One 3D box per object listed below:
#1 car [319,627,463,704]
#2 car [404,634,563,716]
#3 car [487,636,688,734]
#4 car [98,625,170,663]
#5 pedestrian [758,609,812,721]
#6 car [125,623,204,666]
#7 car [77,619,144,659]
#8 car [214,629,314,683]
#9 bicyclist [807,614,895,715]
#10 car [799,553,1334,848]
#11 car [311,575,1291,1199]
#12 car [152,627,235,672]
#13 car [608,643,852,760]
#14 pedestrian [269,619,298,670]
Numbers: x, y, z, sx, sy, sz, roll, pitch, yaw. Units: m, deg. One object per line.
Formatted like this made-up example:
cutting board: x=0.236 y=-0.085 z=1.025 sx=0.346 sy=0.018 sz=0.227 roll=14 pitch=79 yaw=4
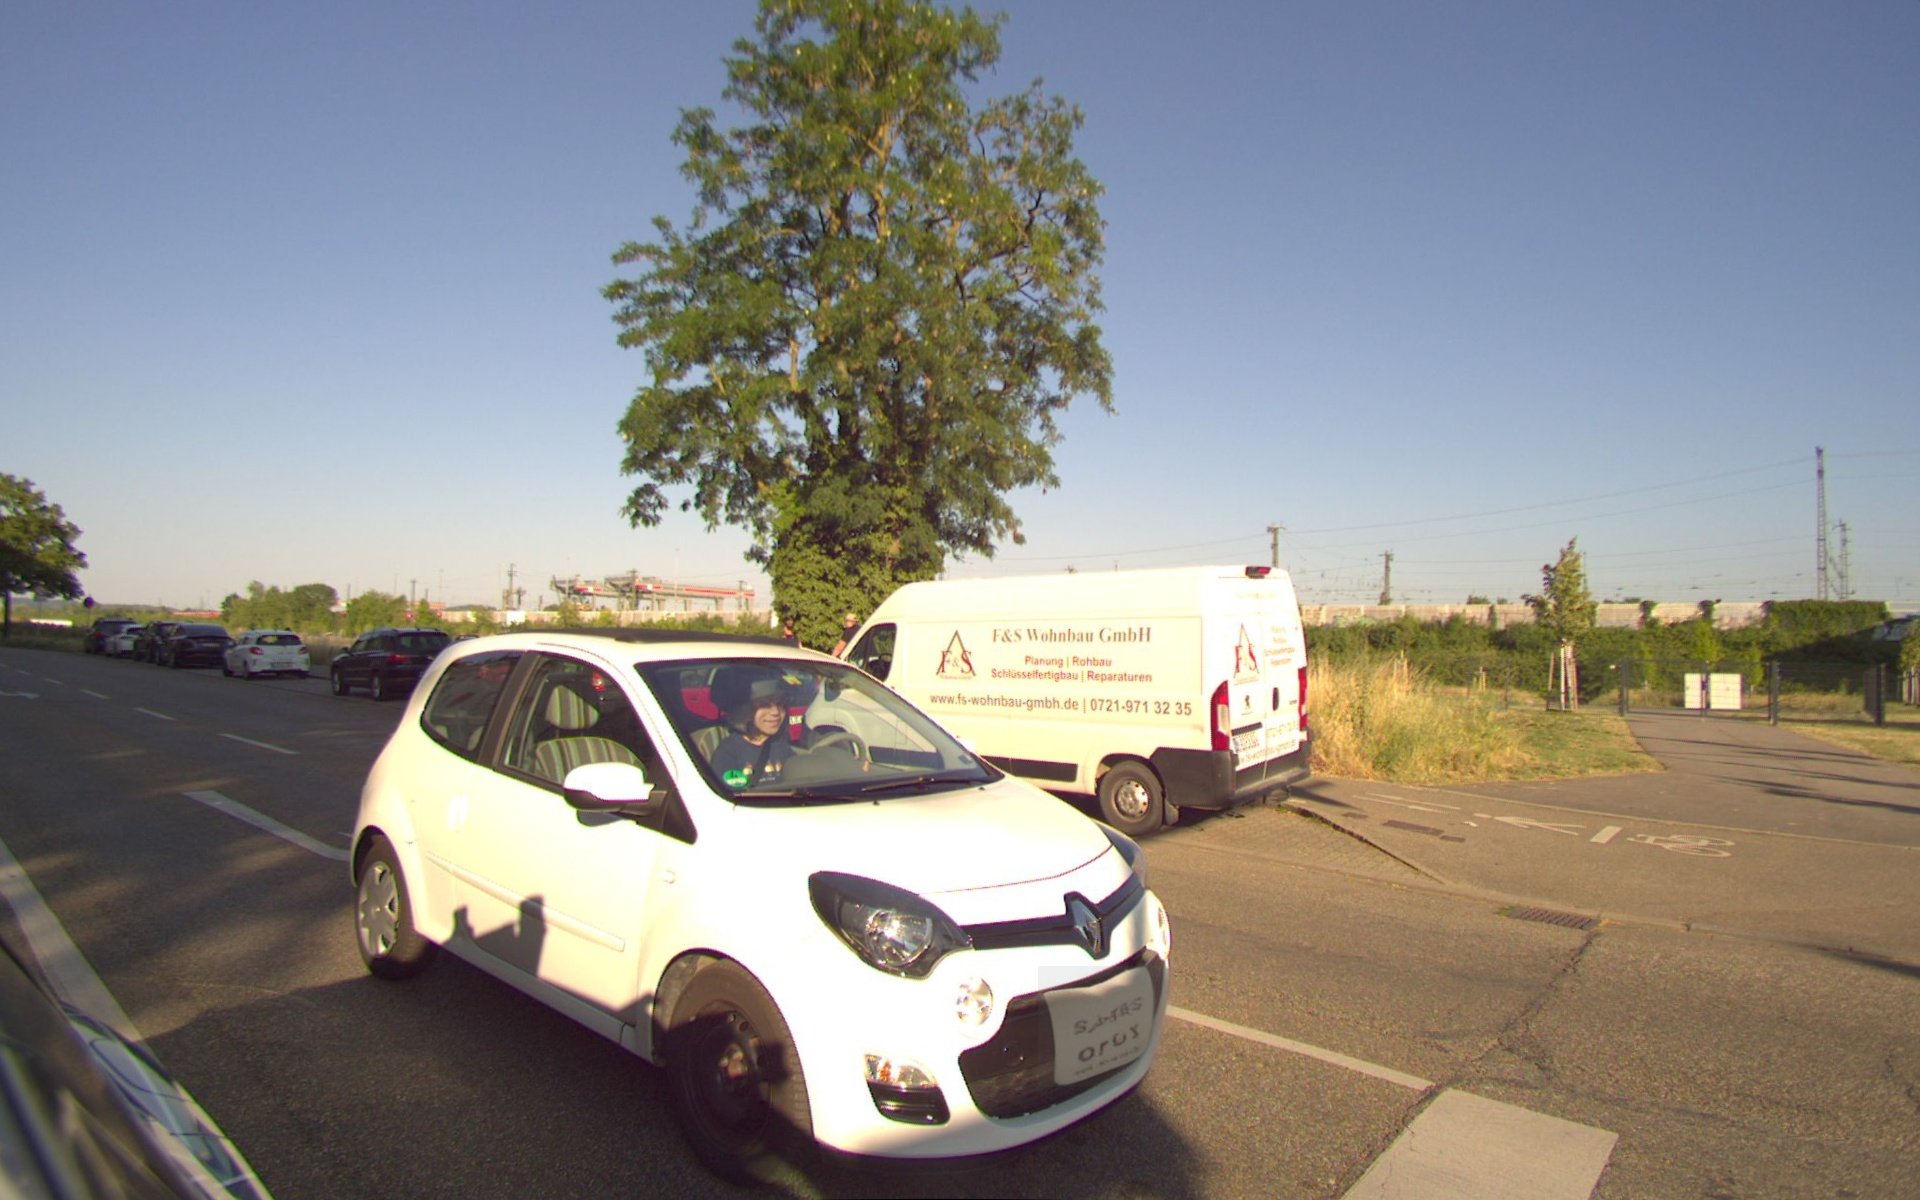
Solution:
car: x=-13.601 y=1.507 z=24.118 sx=4.003 sy=1.672 sz=1.642 roll=-1 pitch=-4 yaw=40
car: x=-10.019 y=1.528 z=21.200 sx=3.577 sy=1.541 sz=1.642 roll=-1 pitch=-4 yaw=40
car: x=-6.803 y=1.477 z=18.320 sx=3.814 sy=1.541 sz=1.723 roll=-1 pitch=-4 yaw=40
car: x=-36.474 y=1.929 z=44.663 sx=4.219 sy=1.586 sz=1.799 roll=-1 pitch=-4 yaw=43
pedestrian: x=-3.241 y=1.192 z=18.761 sx=0.729 sy=2.029 sz=0.608 roll=-1 pitch=-4 yaw=39
car: x=-32.387 y=1.790 z=41.152 sx=4.219 sy=1.650 sz=1.799 roll=-1 pitch=-4 yaw=43
car: x=-40.844 y=1.872 z=48.610 sx=4.219 sy=1.789 sz=1.866 roll=-1 pitch=-4 yaw=43
car: x=-21.563 y=1.711 z=31.295 sx=3.582 sy=1.538 sz=1.684 roll=-1 pitch=-4 yaw=42
bicyclist: x=-1.826 y=1.063 z=16.943 sx=1.144 sy=1.609 sz=0.856 roll=-1 pitch=-4 yaw=36
car: x=0.924 y=0.878 z=11.085 sx=5.556 sy=2.455 sz=2.207 roll=-1 pitch=-1 yaw=40
car: x=-0.873 y=0.760 z=3.945 sx=3.772 sy=1.480 sz=1.683 roll=-1 pitch=-4 yaw=40
car: x=-28.238 y=1.794 z=37.230 sx=1.798 sy=1.538 sz=4.292 roll=5 pitch=-4 yaw=-45
car: x=-3.553 y=1.457 z=15.399 sx=3.692 sy=1.498 sz=1.723 roll=-1 pitch=-4 yaw=40
pedestrian: x=-26.959 y=1.769 z=40.323 sx=0.710 sy=2.029 sz=0.697 roll=-1 pitch=-4 yaw=42
